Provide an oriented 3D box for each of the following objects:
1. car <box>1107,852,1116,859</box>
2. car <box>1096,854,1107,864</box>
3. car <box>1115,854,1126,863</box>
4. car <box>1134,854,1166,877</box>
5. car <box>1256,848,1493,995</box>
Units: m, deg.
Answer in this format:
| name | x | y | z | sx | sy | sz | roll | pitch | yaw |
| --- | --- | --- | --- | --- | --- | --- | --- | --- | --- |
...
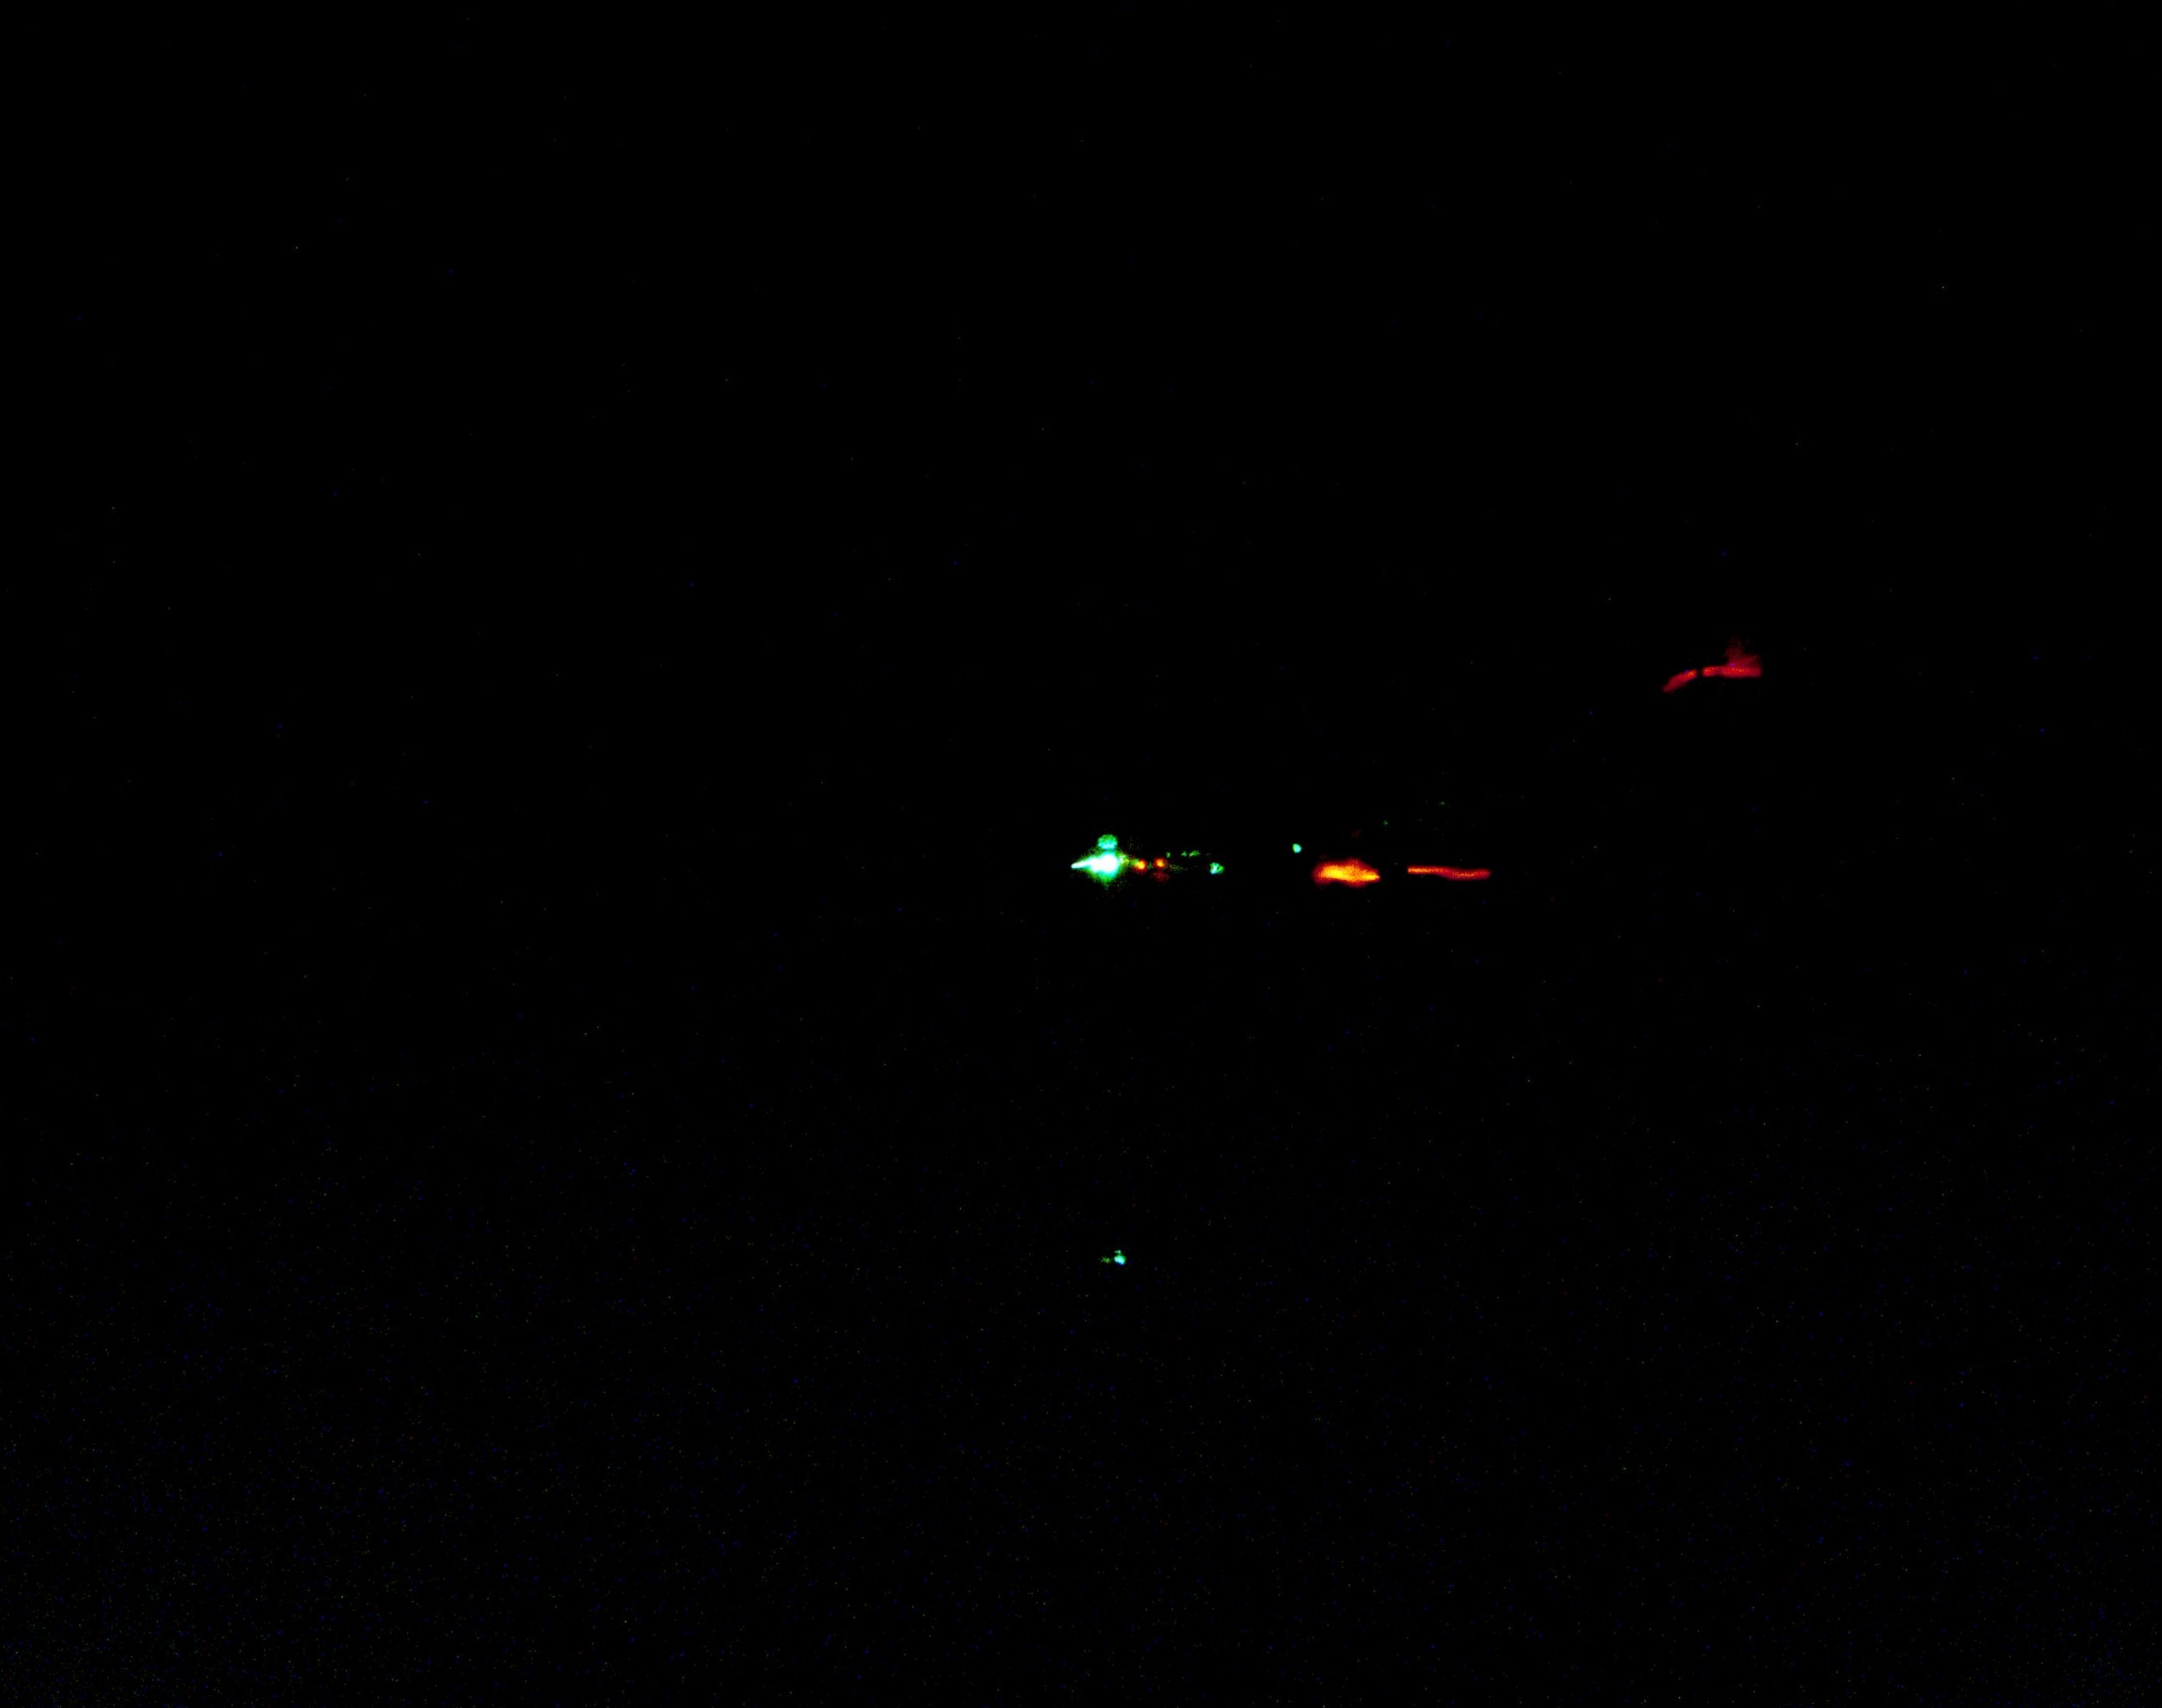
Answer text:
| name | x | y | z | sx | sy | sz | roll | pitch | yaw |
| --- | --- | --- | --- | --- | --- | --- | --- | --- | --- |
| car | 6.850 | 0.342 | 171.985 | 1.783 | 1.565 | 4.000 | -2 | 1 | 1 |
| car | 3.485 | 0.883 | 127.997 | 1.824 | 1.565 | 4.106 | -2 | 1 | 1 |
| car | 7.179 | 0.799 | 138.415 | 1.783 | 1.565 | 4.000 | -2 | 1 | 1 |
| car | 4.708 | 0.774 | 52.466 | 1.872 | 1.434 | 4.463 | -1 | 1 | 1 |
| car | 3.742 | 0.749 | 10.440 | 1.831 | 1.608 | 3.728 | -2 | 1 | 1 |
